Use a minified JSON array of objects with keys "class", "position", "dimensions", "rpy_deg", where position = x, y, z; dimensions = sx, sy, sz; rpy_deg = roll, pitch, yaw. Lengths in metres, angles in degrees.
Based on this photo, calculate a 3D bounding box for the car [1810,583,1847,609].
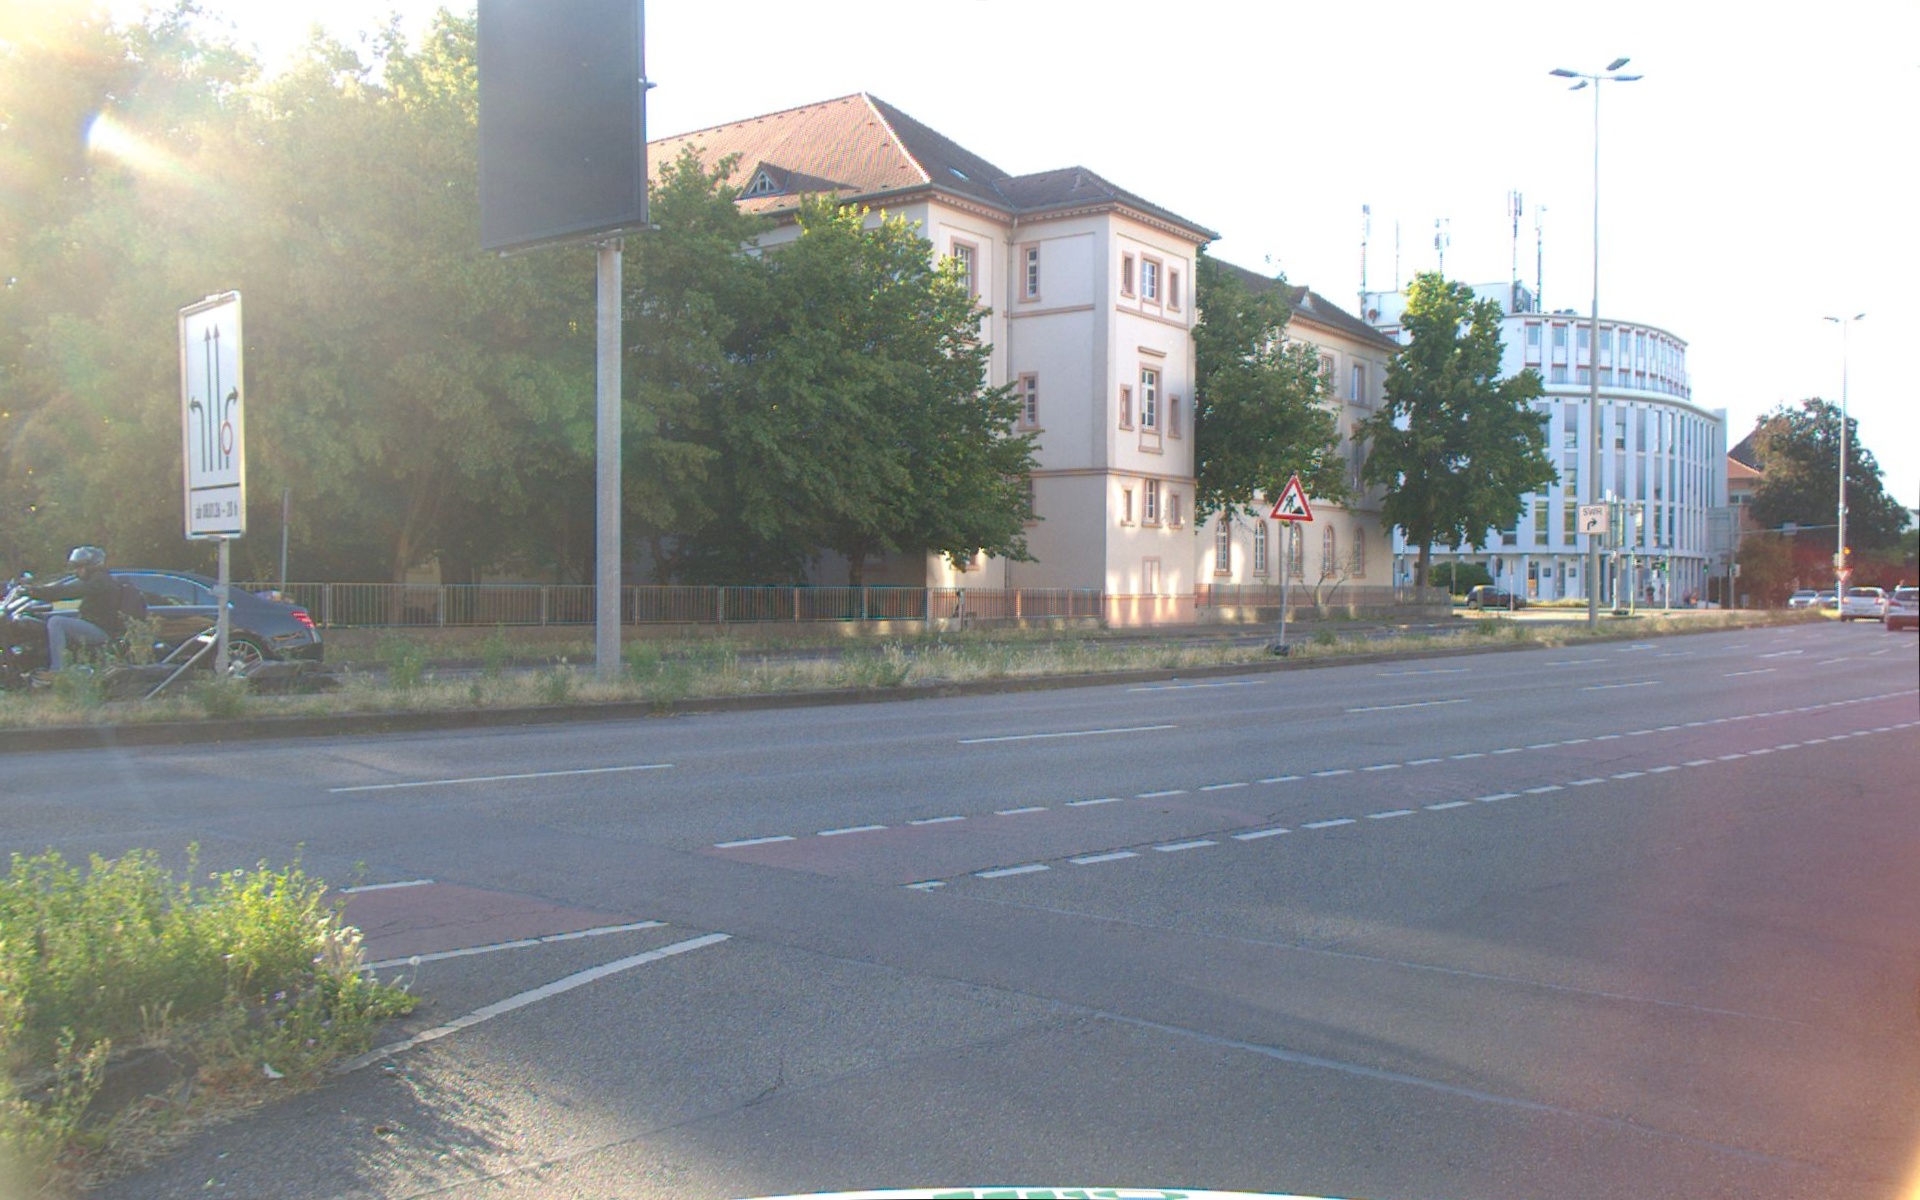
[{"class":"car","position":[64.816,-0.279,123.384],"dimensions":[1.811,1.848,3.983],"rpy_deg":[-2,-2,37]}]

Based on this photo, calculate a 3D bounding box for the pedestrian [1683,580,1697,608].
[{"class":"pedestrian","position":[49.144,-0.409,111.291],"dimensions":[0.616,1.901,1.122],"rpy_deg":[0,0,38]}]

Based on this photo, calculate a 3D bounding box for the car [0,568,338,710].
[{"class":"car","position":[-10.242,0.408,19.339],"dimensions":[1.967,1.522,5.254],"rpy_deg":[0,1,45]}]

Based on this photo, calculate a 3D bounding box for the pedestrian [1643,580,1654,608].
[{"class":"pedestrian","position":[46.995,-0.402,112.898],"dimensions":[0.646,1.891,0.778],"rpy_deg":[0,0,23]}]

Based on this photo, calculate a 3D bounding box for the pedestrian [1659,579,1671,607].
[{"class":"pedestrian","position":[47.891,-0.455,112.387],"dimensions":[0.743,1.874,0.818],"rpy_deg":[0,0,25]}]

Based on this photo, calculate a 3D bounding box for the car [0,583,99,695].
[{"class":"car","position":[-13.984,0.519,22.187],"dimensions":[1.829,1.489,3.972],"rpy_deg":[1,1,44]}]

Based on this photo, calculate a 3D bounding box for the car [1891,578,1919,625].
[{"class":"car","position":[33.959,0.038,58.200],"dimensions":[1.718,1.591,4.036],"rpy_deg":[0,1,35]}]

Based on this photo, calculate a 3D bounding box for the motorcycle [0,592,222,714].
[{"class":"motorcycle","position":[-8.605,0.491,16.134],"dimensions":[2.446,1.127,0.849],"rpy_deg":[0,0,-39]}]

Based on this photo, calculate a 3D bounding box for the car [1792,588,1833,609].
[{"class":"car","position":[60.164,-0.114,116.680],"dimensions":[1.960,1.438,4.427],"rpy_deg":[-1,0,35]}]

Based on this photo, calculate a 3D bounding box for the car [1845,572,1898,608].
[{"class":"car","position":[39.843,-0.458,72.285],"dimensions":[1.656,1.482,3.987],"rpy_deg":[1,1,34]}]

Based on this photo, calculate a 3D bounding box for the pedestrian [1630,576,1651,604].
[{"class":"pedestrian","position":[50.338,-0.761,122.356],"dimensions":[1.028,2.049,1.077],"rpy_deg":[0,0,-44]}]

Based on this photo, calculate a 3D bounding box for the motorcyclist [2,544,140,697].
[{"class":"motorcyclist","position":[-8.647,0.184,16.088],"dimensions":[1.051,1.422,0.842],"rpy_deg":[0,0,-39]}]

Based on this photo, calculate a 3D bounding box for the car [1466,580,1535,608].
[{"class":"car","position":[33.210,-0.353,101.619],"dimensions":[3.739,1.557,1.858],"rpy_deg":[-1,-2,32]}]

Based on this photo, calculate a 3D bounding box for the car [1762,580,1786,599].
[{"class":"car","position":[70.319,-0.898,142.845],"dimensions":[1.805,1.599,3.995],"rpy_deg":[0,0,28]}]
